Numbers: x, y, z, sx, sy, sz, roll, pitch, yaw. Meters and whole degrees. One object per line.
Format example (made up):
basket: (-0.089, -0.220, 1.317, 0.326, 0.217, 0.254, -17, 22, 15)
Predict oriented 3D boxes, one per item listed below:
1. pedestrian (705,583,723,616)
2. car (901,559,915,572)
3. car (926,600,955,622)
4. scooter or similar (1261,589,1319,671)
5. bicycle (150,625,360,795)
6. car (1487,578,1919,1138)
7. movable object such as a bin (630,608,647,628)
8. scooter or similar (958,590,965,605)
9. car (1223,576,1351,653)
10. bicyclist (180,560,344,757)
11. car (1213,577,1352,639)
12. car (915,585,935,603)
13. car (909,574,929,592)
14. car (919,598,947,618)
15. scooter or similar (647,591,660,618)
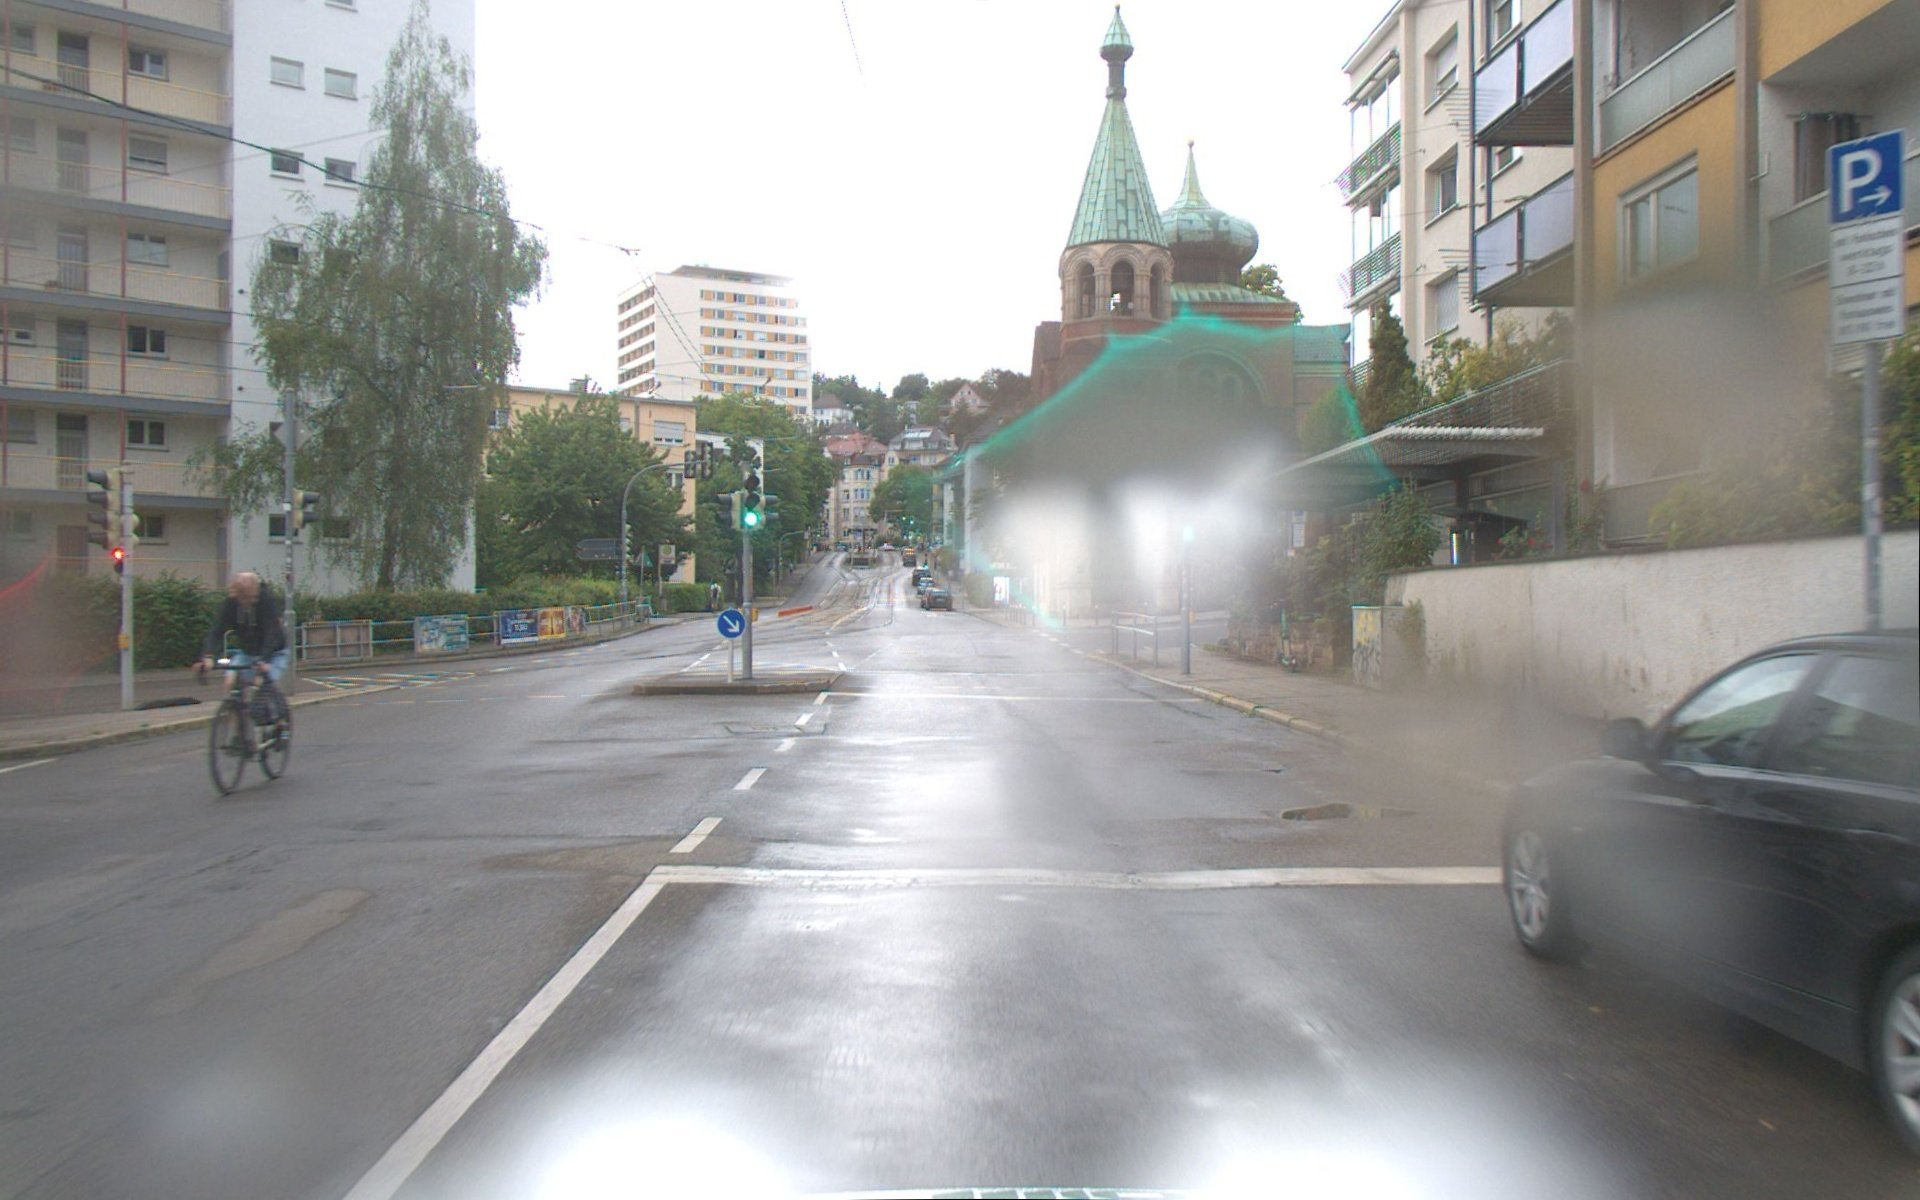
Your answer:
pedestrian: (-14.160, -0.020, 95.220, 0.901, 1.878, 1.016, 2, -1, -7)
car: (-6.942, -4.634, 221.176, 1.764, 1.674, 4.000, 1, 0, 1)
car: (-1.405, 0.789, 117.318, 1.821, 1.513, 4.641, 1, 0, -4)
scooter or similar: (5.733, 0.513, 28.787, 0.524, 1.350, 1.658, -5, 0, -2)
bicycle: (-5.486, 0.810, 13.036, 0.807, 1.168, 2.126, 0, 0, -2)
car: (3.357, 0.717, 5.352, 1.695, 1.485, 4.475, 1, -1, -3)
movable object such as a bin: (-14.690, 0.807, 75.549, 0.673, 0.897, 0.759, 1, -2, -8)
scooter or similar: (0.144, -0.270, 154.498, 0.563, 1.270, 1.611, 1, 4, 3)
car: (7.307, 0.374, 37.410, 1.816, 1.529, 4.447, -3, -2, -2)
bicyclist: (-5.493, 0.457, 13.084, 0.807, 1.487, 1.139, 1, -2, -2)
car: (9.357, 0.190, 47.758, 1.966, 1.482, 4.425, 0, 4, 41)
car: (-3.293, -0.589, 153.558, 1.671, 1.458, 4.100, 1, 2, -3)
car: (-4.182, -1.709, 169.884, 1.868, 1.670, 4.687, 1, 2, -3)
car: (-2.147, 0.605, 128.501, 1.902, 1.489, 4.202, 1, 0, -5)
scooter or similar: (-14.347, 0.228, 77.408, 0.562, 1.205, 1.596, 1, -2, -10)
